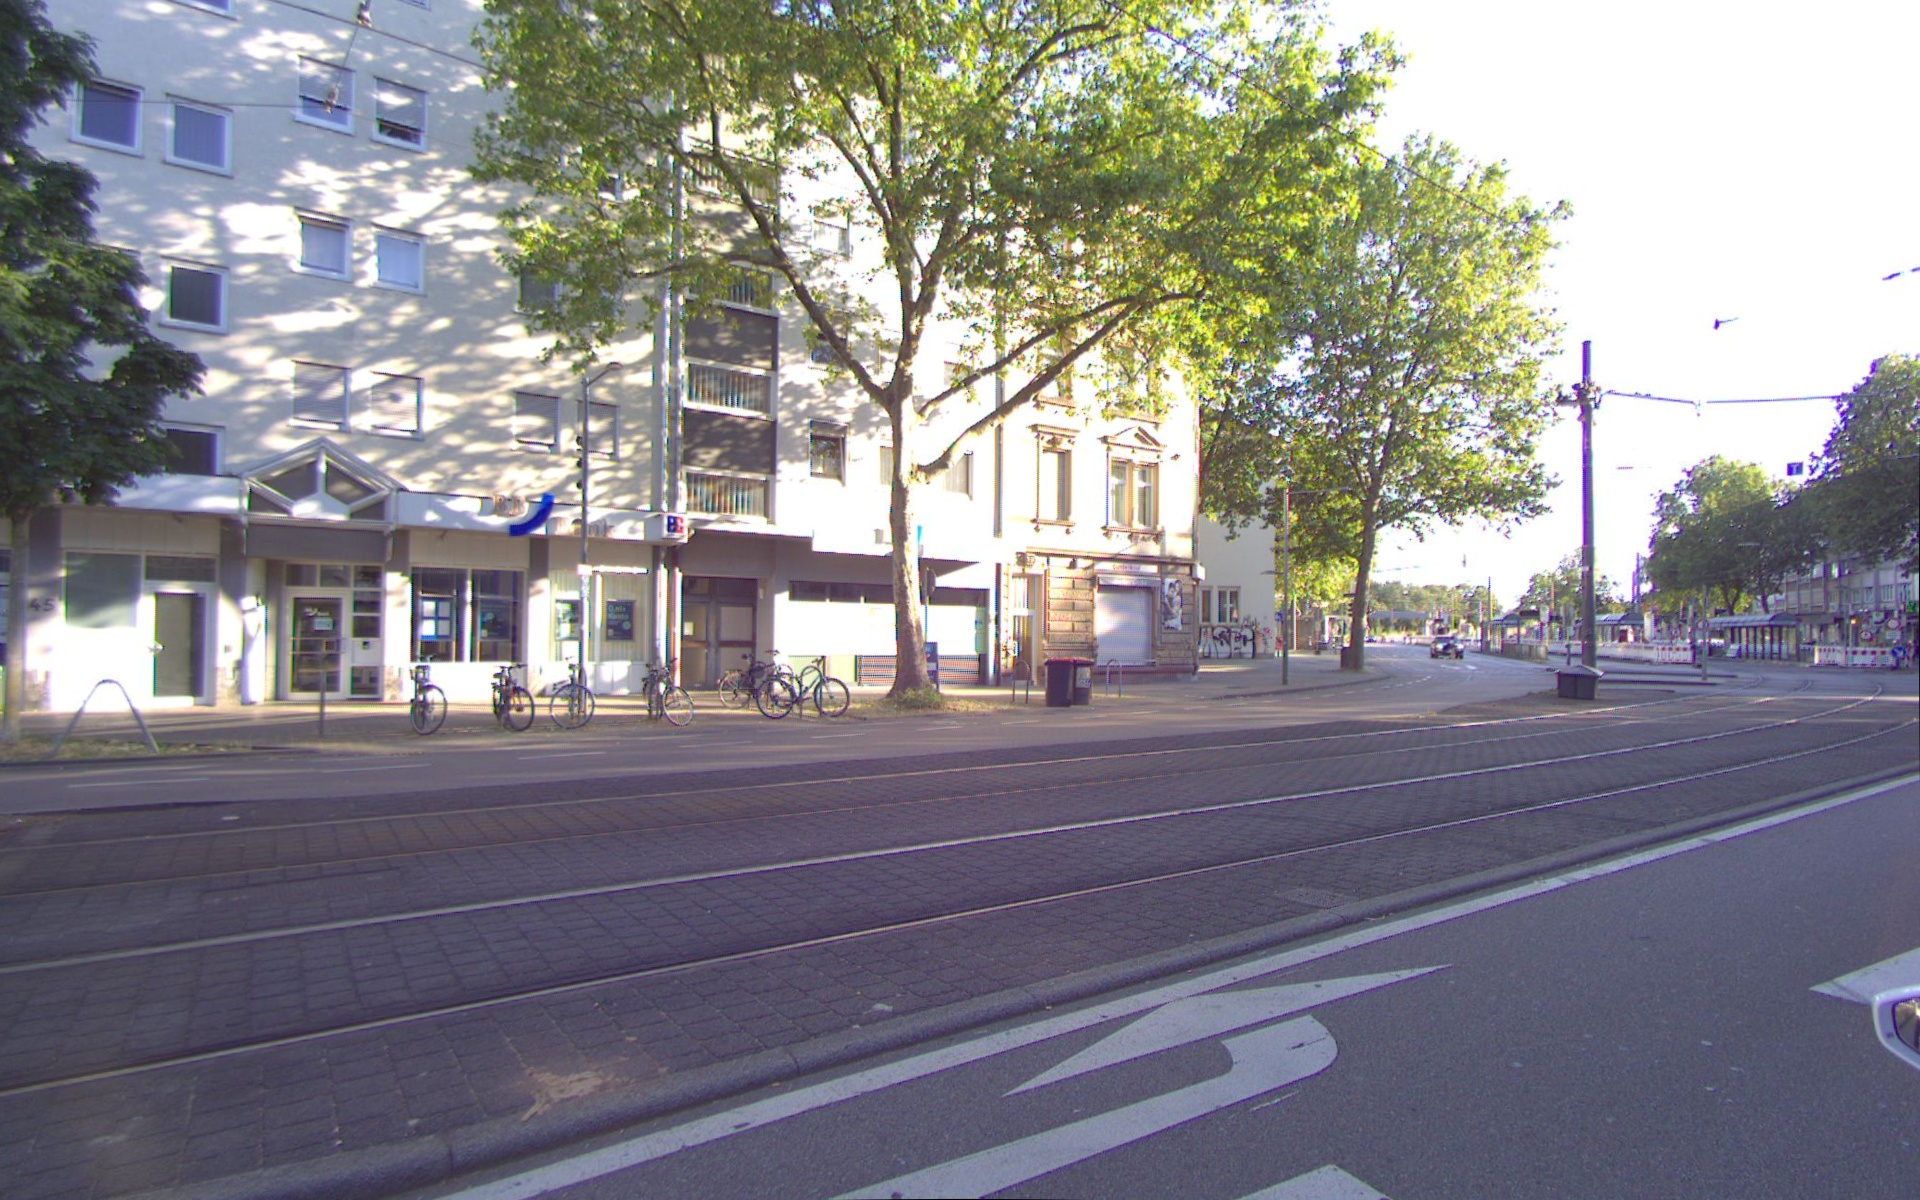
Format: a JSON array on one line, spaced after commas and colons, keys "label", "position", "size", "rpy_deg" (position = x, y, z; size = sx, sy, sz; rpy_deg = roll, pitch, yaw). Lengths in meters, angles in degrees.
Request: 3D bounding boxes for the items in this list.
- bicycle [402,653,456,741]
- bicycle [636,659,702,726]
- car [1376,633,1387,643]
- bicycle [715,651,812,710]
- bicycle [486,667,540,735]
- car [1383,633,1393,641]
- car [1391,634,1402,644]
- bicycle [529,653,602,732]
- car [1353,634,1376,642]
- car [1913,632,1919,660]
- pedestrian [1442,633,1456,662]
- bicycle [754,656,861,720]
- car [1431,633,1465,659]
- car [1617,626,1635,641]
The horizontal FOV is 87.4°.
[{"label": "bicycle", "position": [-7.822, 1.390, 14.756], "size": [0.506, 1.153, 1.729], "rpy_deg": [2, -1, -34]}, {"label": "bicycle", "position": [-5.003, 1.559, 17.193], "size": [0.584, 1.002, 1.729], "rpy_deg": [2, -1, -34]}, {"label": "car", "position": [79.486, 7.167, 189.323], "size": [1.814, 1.706, 3.716], "rpy_deg": [0, -2, 23]}, {"label": "bicycle", "position": [-3.912, 1.586, 20.025], "size": [1.777, 1.132, 0.617], "rpy_deg": [2, -2, -29]}, {"label": "bicycle", "position": [-6.947, 1.538, 15.583], "size": [0.467, 0.900, 1.729], "rpy_deg": [2, -1, -34]}, {"label": "car", "position": [89.606, 7.711, 210.271], "size": [1.814, 1.706, 3.716], "rpy_deg": [0, -2, 23]}, {"label": "car", "position": [78.805, 7.005, 181.340], "size": [1.814, 1.706, 3.715], "rpy_deg": [-2, -2, 23]}, {"label": "bicycle", "position": [-6.341, 1.439, 16.084], "size": [0.724, 1.128, 1.729], "rpy_deg": [2, -1, -34]}, {"label": "car", "position": [78.272, 7.344, 194.278], "size": [3.919, 1.661, 1.792], "rpy_deg": [0, -2, 13]}, {"label": "car", "position": [64.758, 3.092, 65.771], "size": [1.961, 1.815, 4.000], "rpy_deg": [2, -1, 20]}, {"label": "pedestrian", "position": [28.778, 2.786, 59.133], "size": [0.645, 1.678, 0.444], "rpy_deg": [0, -2, 18]}, {"label": "bicycle", "position": [-2.748, 1.564, 18.176], "size": [1.800, 1.091, 0.649], "rpy_deg": [2, -2, -29]}, {"label": "car", "position": [32.777, 3.083, 67.498], "size": [1.962, 1.661, 3.997], "rpy_deg": [0, -2, 25]}, {"label": "car", "position": [88.444, 4.456, 133.457], "size": [1.593, 2.040, 3.110], "rpy_deg": [0, -2, 26]}]
